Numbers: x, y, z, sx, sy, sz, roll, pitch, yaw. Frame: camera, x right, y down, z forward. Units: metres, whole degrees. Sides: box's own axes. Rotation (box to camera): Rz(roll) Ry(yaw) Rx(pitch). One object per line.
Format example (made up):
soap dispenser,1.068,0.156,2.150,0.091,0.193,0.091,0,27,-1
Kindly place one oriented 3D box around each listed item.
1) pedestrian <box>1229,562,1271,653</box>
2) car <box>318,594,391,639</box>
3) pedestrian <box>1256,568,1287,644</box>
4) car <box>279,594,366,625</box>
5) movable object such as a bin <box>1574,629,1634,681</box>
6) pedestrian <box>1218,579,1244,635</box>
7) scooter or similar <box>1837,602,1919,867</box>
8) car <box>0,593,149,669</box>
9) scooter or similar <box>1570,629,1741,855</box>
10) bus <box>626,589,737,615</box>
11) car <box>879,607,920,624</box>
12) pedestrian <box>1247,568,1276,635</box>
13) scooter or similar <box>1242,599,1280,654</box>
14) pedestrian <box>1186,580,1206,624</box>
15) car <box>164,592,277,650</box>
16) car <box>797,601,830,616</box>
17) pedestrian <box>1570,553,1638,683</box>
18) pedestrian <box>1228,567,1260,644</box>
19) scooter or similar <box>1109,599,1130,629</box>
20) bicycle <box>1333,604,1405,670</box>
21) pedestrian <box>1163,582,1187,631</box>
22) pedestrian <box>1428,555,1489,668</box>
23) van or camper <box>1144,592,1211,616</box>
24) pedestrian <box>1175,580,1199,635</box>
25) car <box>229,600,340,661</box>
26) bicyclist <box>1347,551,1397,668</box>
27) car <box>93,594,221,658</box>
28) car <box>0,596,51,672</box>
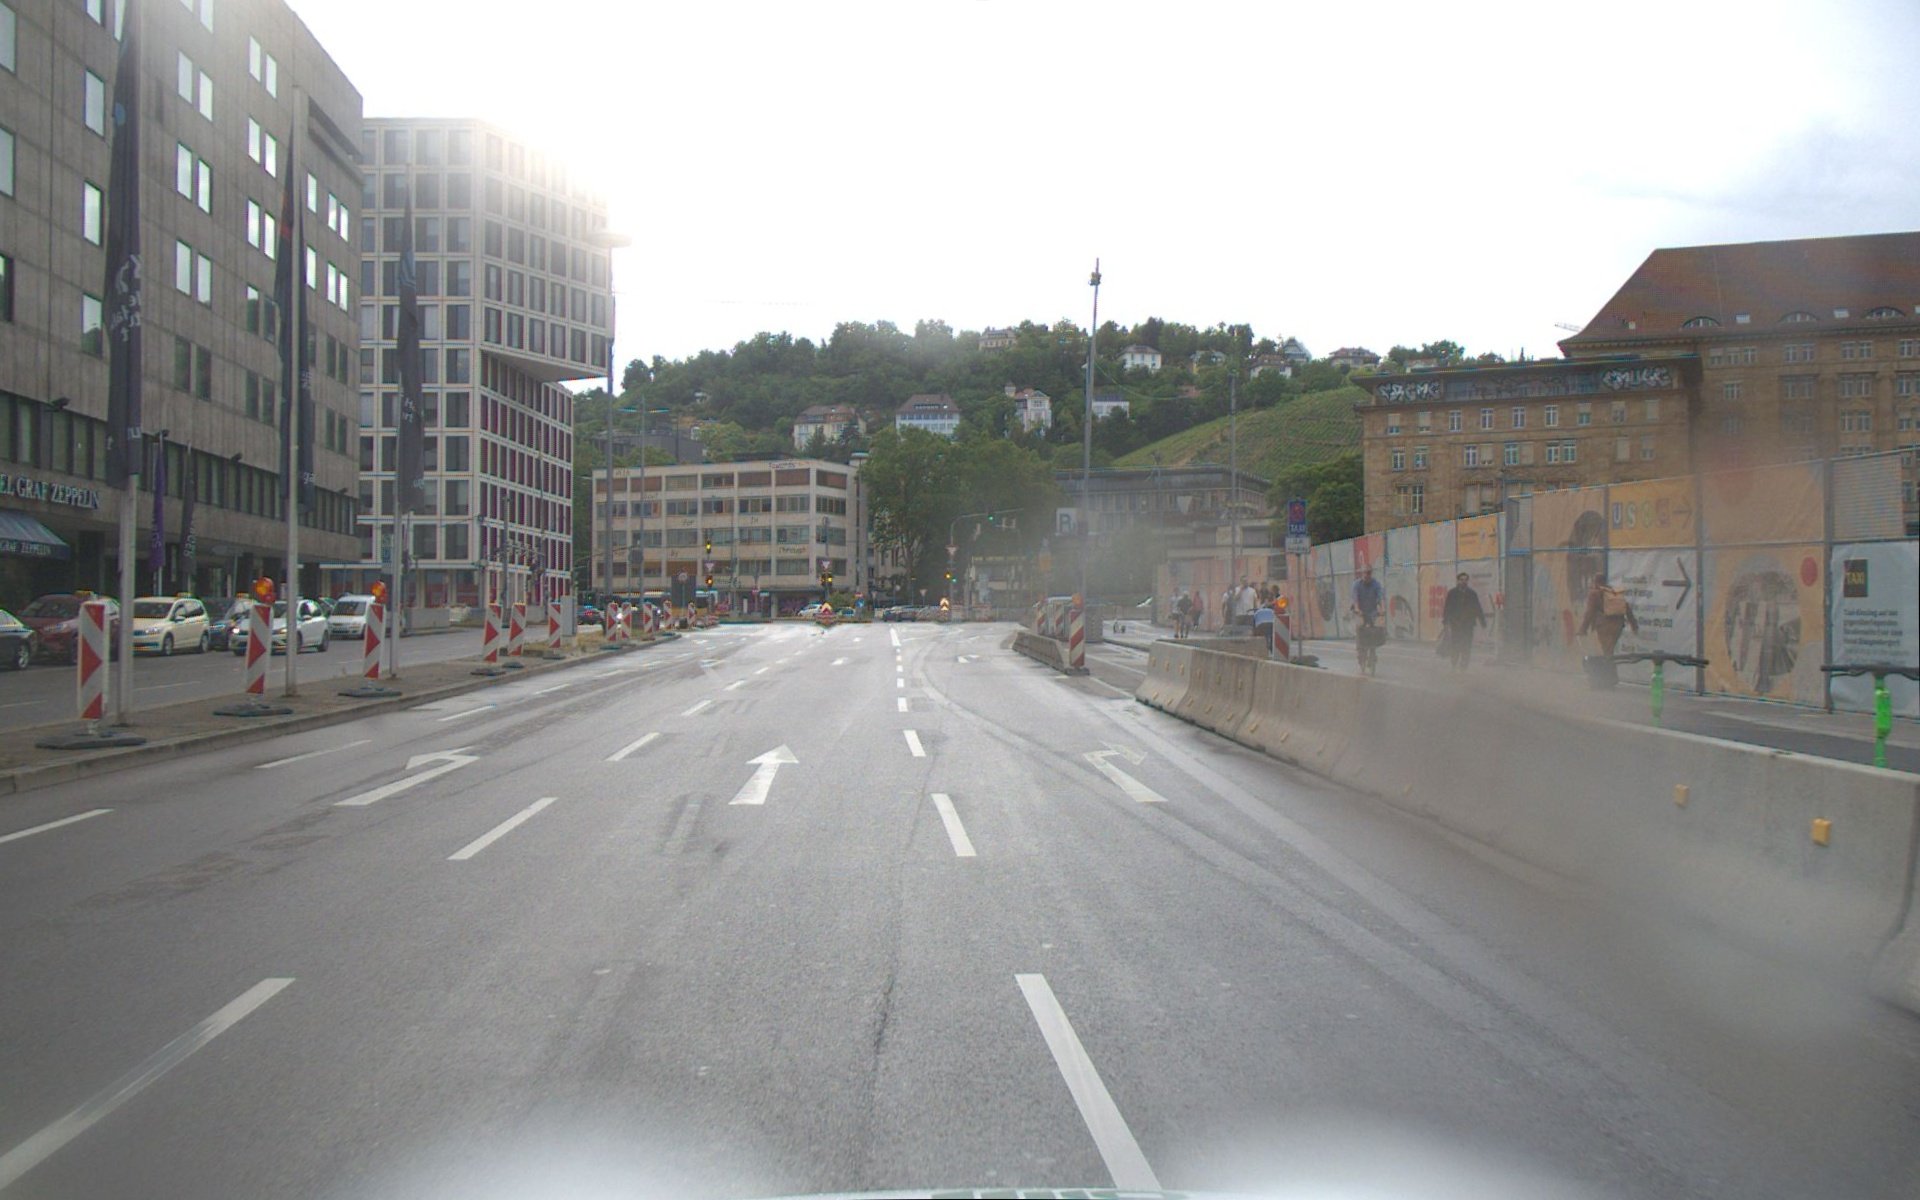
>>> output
pedestrian,6.660,0.168,38.054,0.786,2.052,0.972,0,0,0
car,-25.036,0.668,68.527,1.740,1.793,4.366,0,0,-5
pedestrian,7.927,0.155,42.104,0.669,1.922,0.693,0,0,0
car,-42.142,0.629,109.400,4.961,1.938,2.089,-1,0,5
movable object such as a bin,9.573,0.810,24.589,0.585,0.747,0.778,0,0,0
pedestrian,9.260,0.226,56.460,0.689,1.899,0.990,0,0,-1
scooter or similar,5.105,0.692,8.980,0.481,1.357,1.025,-1,0,22
car,-22.621,0.754,42.103,1.864,1.799,4.643,-1,0,-3
scooter or similar,4.442,0.872,10.619,0.515,1.357,1.022,0,0,-12
bus,-32.107,0.225,190.008,13.668,2.799,3.206,0,0,30
car,-5.690,1.432,155.675,1.721,1.518,4.014,0,0,-42
pedestrian,8.725,0.031,47.910,0.670,1.922,0.693,0,0,-4
scooter or similar,6.728,0.589,37.053,0.651,1.219,1.044,0,0,0
pedestrian,10.233,0.097,71.677,0.705,1.899,0.709,0,0,-3
car,-23.613,0.658,52.995,1.780,1.758,4.511,-1,0,-3
car,-15.727,0.911,177.091,1.716,1.518,4.027,0,0,-35
pedestrian,9.732,0.266,25.009,0.751,1.928,0.654,0,0,-1
pedestrian,7.231,0.139,42.112,0.669,1.922,0.693,0,0,0
scooter or similar,6.519,0.564,67.652,0.459,1.204,1.411,0,0,-11
bicycle,7.247,0.636,29.392,0.750,1.131,1.981,0,0,-1
pedestrian,7.805,0.229,60.089,0.670,1.771,0.907,0,0,-3
pedestrian,8.618,0.192,28.630,0.831,1.928,0.662,0,0,-1
van or camper,17.710,0.328,134.845,5.092,1.927,1.886,-1,0,-4
pedestrian,7.487,0.245,54.657,0.629,1.771,0.837,0,0,-3
car,-19.668,0.847,48.343,1.788,1.698,4.494,0,0,-6
bicyclist,7.326,0.169,29.413,0.712,2.049,0.599,0,0,-1
car,-22.876,0.710,47.313,1.781,1.728,4.573,0,0,-5
car,-22.112,0.752,36.514,1.865,1.688,4.611,0,0,-5
